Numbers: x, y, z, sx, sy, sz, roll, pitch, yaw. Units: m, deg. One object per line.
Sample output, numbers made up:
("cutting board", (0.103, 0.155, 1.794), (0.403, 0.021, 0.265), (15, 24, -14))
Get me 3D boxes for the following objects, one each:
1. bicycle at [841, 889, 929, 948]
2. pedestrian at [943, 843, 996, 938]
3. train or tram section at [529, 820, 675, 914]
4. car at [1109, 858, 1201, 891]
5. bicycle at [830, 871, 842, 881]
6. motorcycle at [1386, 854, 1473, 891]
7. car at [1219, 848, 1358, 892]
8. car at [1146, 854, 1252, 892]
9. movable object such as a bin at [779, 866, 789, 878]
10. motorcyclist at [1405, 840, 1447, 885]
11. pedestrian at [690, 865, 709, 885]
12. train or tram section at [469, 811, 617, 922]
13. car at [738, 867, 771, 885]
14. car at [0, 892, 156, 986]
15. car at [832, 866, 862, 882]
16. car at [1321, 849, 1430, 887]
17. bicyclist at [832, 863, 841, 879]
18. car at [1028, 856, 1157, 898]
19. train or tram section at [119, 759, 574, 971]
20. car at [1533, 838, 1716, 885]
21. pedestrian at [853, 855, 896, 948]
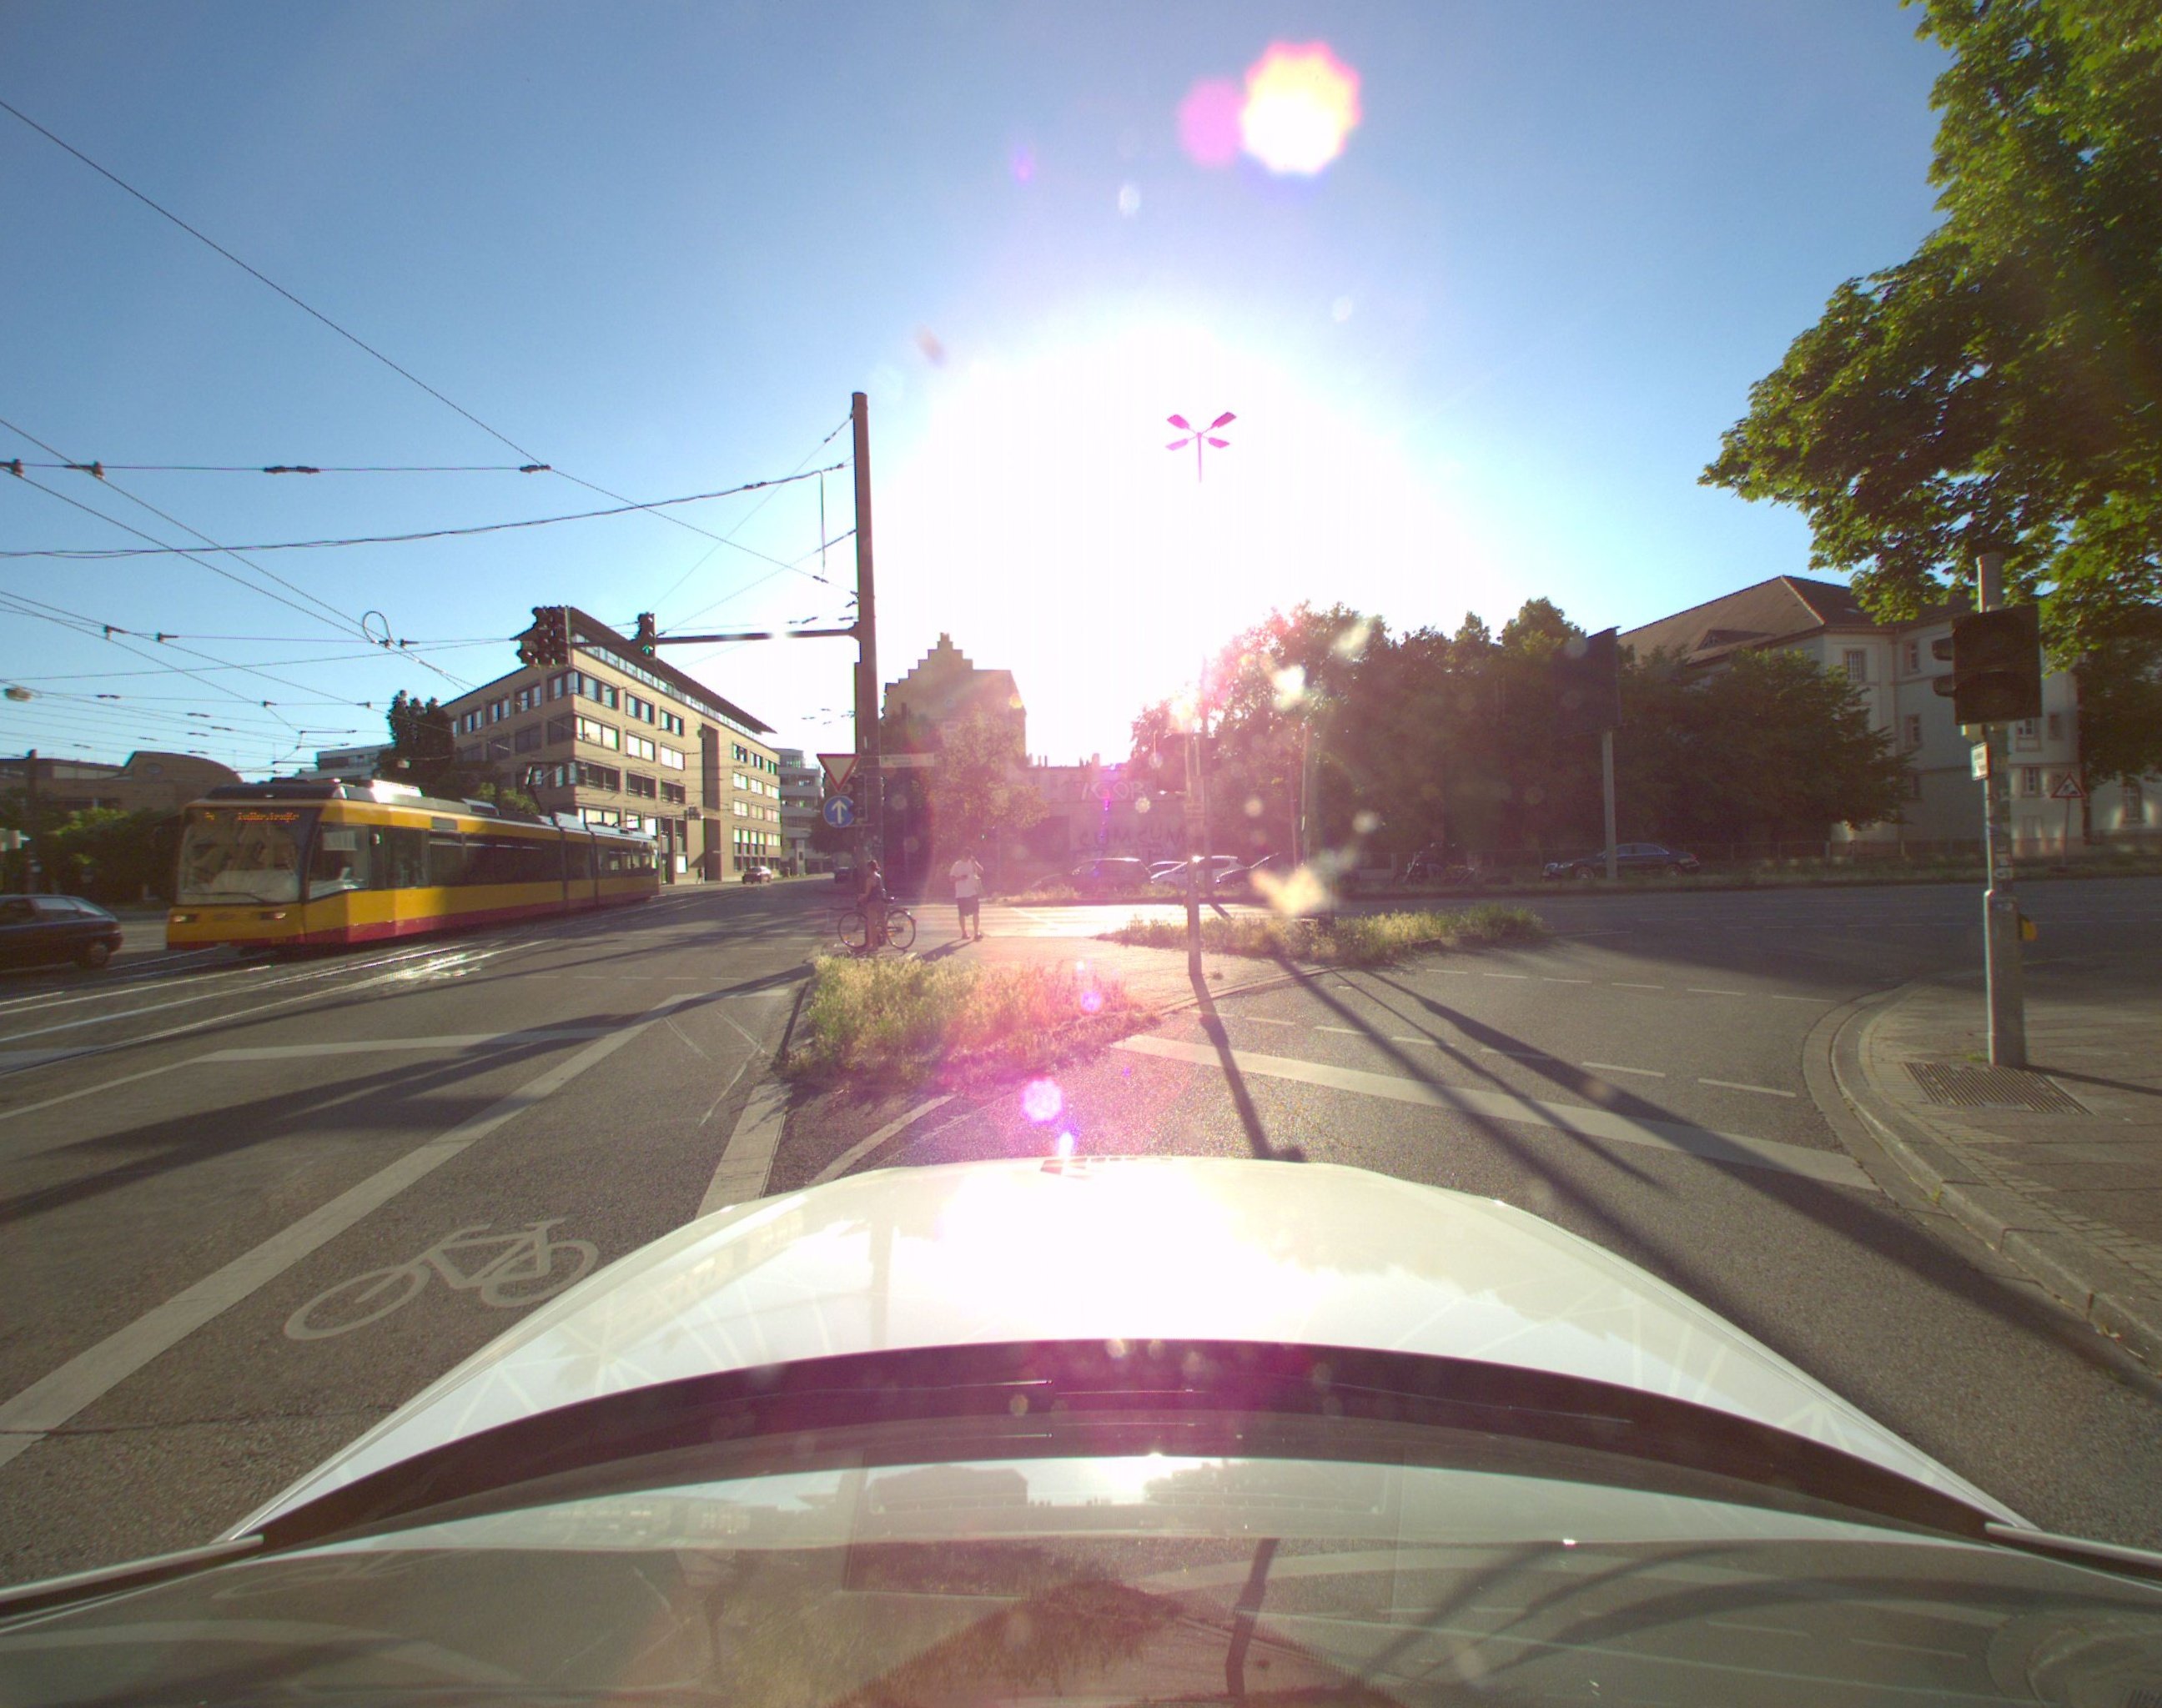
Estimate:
("bicycle", (-3.573, 1.162, 14.796), (1.651, 1.029, 0.402), (-2, -1, 27))
("pedestrian", (-2.231, 0.707, 16.199), (0.910, 1.789, 0.823), (-2, -1, -15))
("train or tram section", (-21.139, 0.566, 36.810), (2.867, 3.508, 11.235), (-2, -1, -16))
("car", (3.228, 0.885, 35.573), (3.861, 1.296, 1.727), (-2, -1, 6))
("bicycle", (-23.967, 2.137, 79.749), (0.693, 0.877, 2.024), (-2, -1, -4))
("motorcycle", (11.318, 0.592, 26.513), (2.448, 1.108, 0.863), (-2, -1, 8))
("car", (6.830, 0.543, 27.186), (4.337, 1.296, 1.728), (-2, -1, 8))
("car", (4.498, 0.729, 31.303), (3.861, 1.319, 1.727), (-2, -1, 6))
("movable object such as a bin", (-39.405, 2.378, 108.148), (1.065, 1.628, 0.887), (-2, -1, -7))
("motorcyclist", (11.235, 0.276, 26.528), (1.052, 1.398, 0.856), (-2, -1, 8))
("pedestrian", (-39.392, 2.202, 84.078), (1.238, 2.014, 1.551), (-2, -1, -6))
("train or tram section", (-18.842, 0.413, 28.920), (2.867, 3.508, 5.274), (-2, -1, -16))
("car", (-32.258, 2.136, 80.521), (1.813, 1.614, 4.456), (-2, -1, -6))
("car", (-17.953, 1.404, 13.252), (1.812, 1.380, 4.141), (-2, -1, -15))
("car", (-21.744, 1.827, 75.772), (1.781, 1.388, 3.995), (-2, -1, -3))
("car", (12.490, 0.565, 34.749), (3.972, 1.464, 1.860), (-2, 0, 1))
("bicyclist", (-23.984, 1.691, 79.796), (0.672, 1.522, 0.812), (-2, -1, -4))
("car", (0.432, 0.793, 28.222), (4.209, 1.296, 1.729), (-2, -1, 10))
("train or tram section", (-16.315, 0.250, 20.137), (2.867, 3.508, 12.943), (-2, -1, -16))
("car", (19.664, 0.285, 29.665), (5.254, 1.496, 2.001), (-2, -1, 2))
("pedestrian", (-3.717, 0.841, 14.664), (0.519, 1.631, 0.492), (-2, -1, 27))
